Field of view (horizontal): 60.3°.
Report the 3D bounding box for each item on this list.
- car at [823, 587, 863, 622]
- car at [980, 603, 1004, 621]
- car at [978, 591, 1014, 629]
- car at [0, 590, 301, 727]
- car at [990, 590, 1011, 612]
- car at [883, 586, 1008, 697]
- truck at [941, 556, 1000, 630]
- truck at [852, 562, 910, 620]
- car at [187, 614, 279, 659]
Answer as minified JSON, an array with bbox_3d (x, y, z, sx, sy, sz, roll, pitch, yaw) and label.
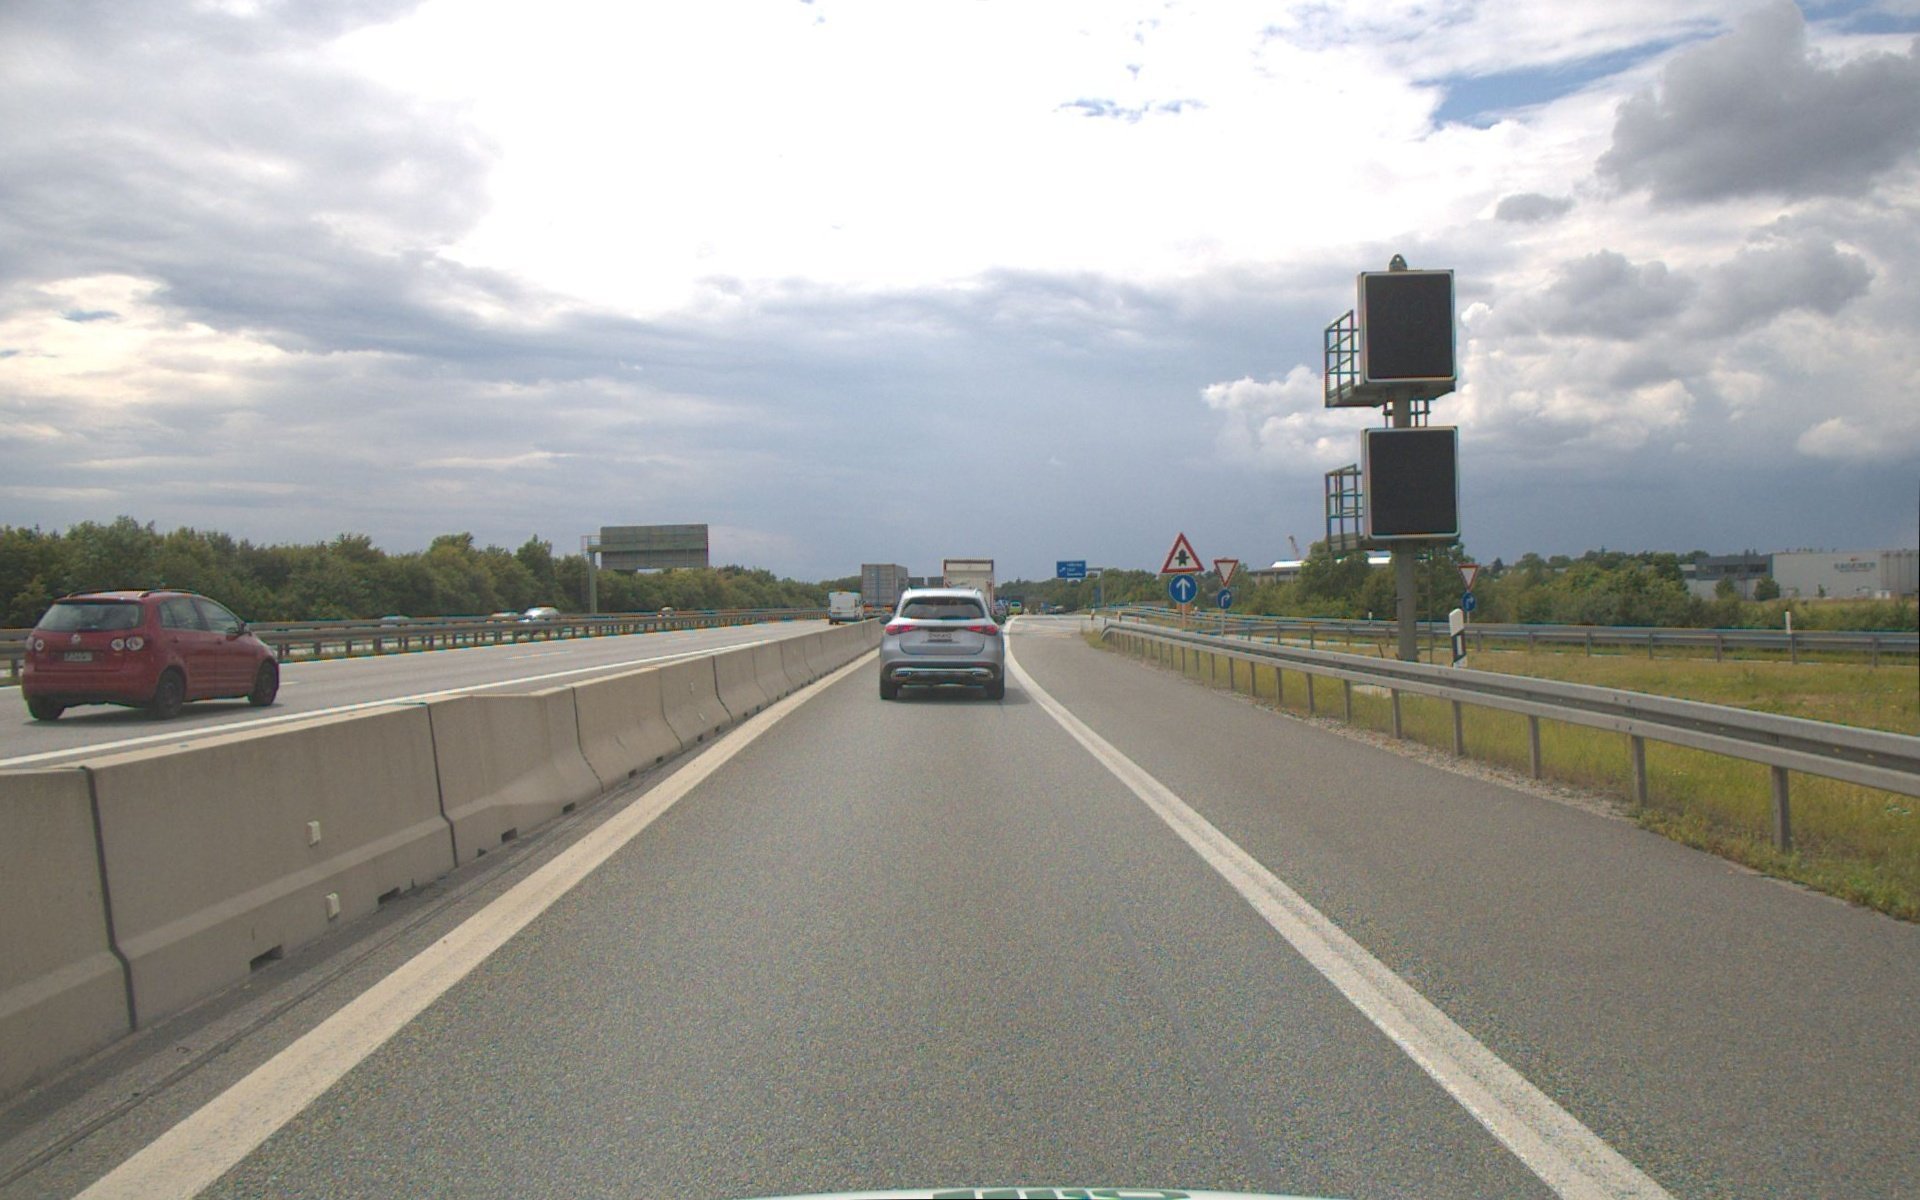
[{"bbox_3d":[-7.273,0.267,103.423,1.952,2.049,4.376,0,1,3],"label":"car"},{"bbox_3d":[2.427,0.906,124.248,1.660,1.310,4.002,0,0,3],"label":"car"},{"bbox_3d":[2.111,0.547,95.446,1.952,2.049,4.002,0,1,3],"label":"car"},{"bbox_3d":[-10.509,0.678,21.856,1.782,1.573,4.356,0,1,1],"label":"car"},{"bbox_3d":[3.997,0.085,162.063,1.952,2.049,4.376,0,1,3],"label":"car"},{"bbox_3d":[-0.176,0.574,25.610,1.782,1.541,4.001,0,1,1],"label":"car"},{"bbox_3d":[0.509,-0.276,74.946,2.516,3.180,8.635,0,0,1],"label":"truck"},{"bbox_3d":[-5.845,-0.815,125.341,3.117,4.089,16.080,0,1,2],"label":"truck"},{"bbox_3d":[-29.810,1.462,67.908,1.791,1.736,4.002,0,0,4],"label":"car"}]
